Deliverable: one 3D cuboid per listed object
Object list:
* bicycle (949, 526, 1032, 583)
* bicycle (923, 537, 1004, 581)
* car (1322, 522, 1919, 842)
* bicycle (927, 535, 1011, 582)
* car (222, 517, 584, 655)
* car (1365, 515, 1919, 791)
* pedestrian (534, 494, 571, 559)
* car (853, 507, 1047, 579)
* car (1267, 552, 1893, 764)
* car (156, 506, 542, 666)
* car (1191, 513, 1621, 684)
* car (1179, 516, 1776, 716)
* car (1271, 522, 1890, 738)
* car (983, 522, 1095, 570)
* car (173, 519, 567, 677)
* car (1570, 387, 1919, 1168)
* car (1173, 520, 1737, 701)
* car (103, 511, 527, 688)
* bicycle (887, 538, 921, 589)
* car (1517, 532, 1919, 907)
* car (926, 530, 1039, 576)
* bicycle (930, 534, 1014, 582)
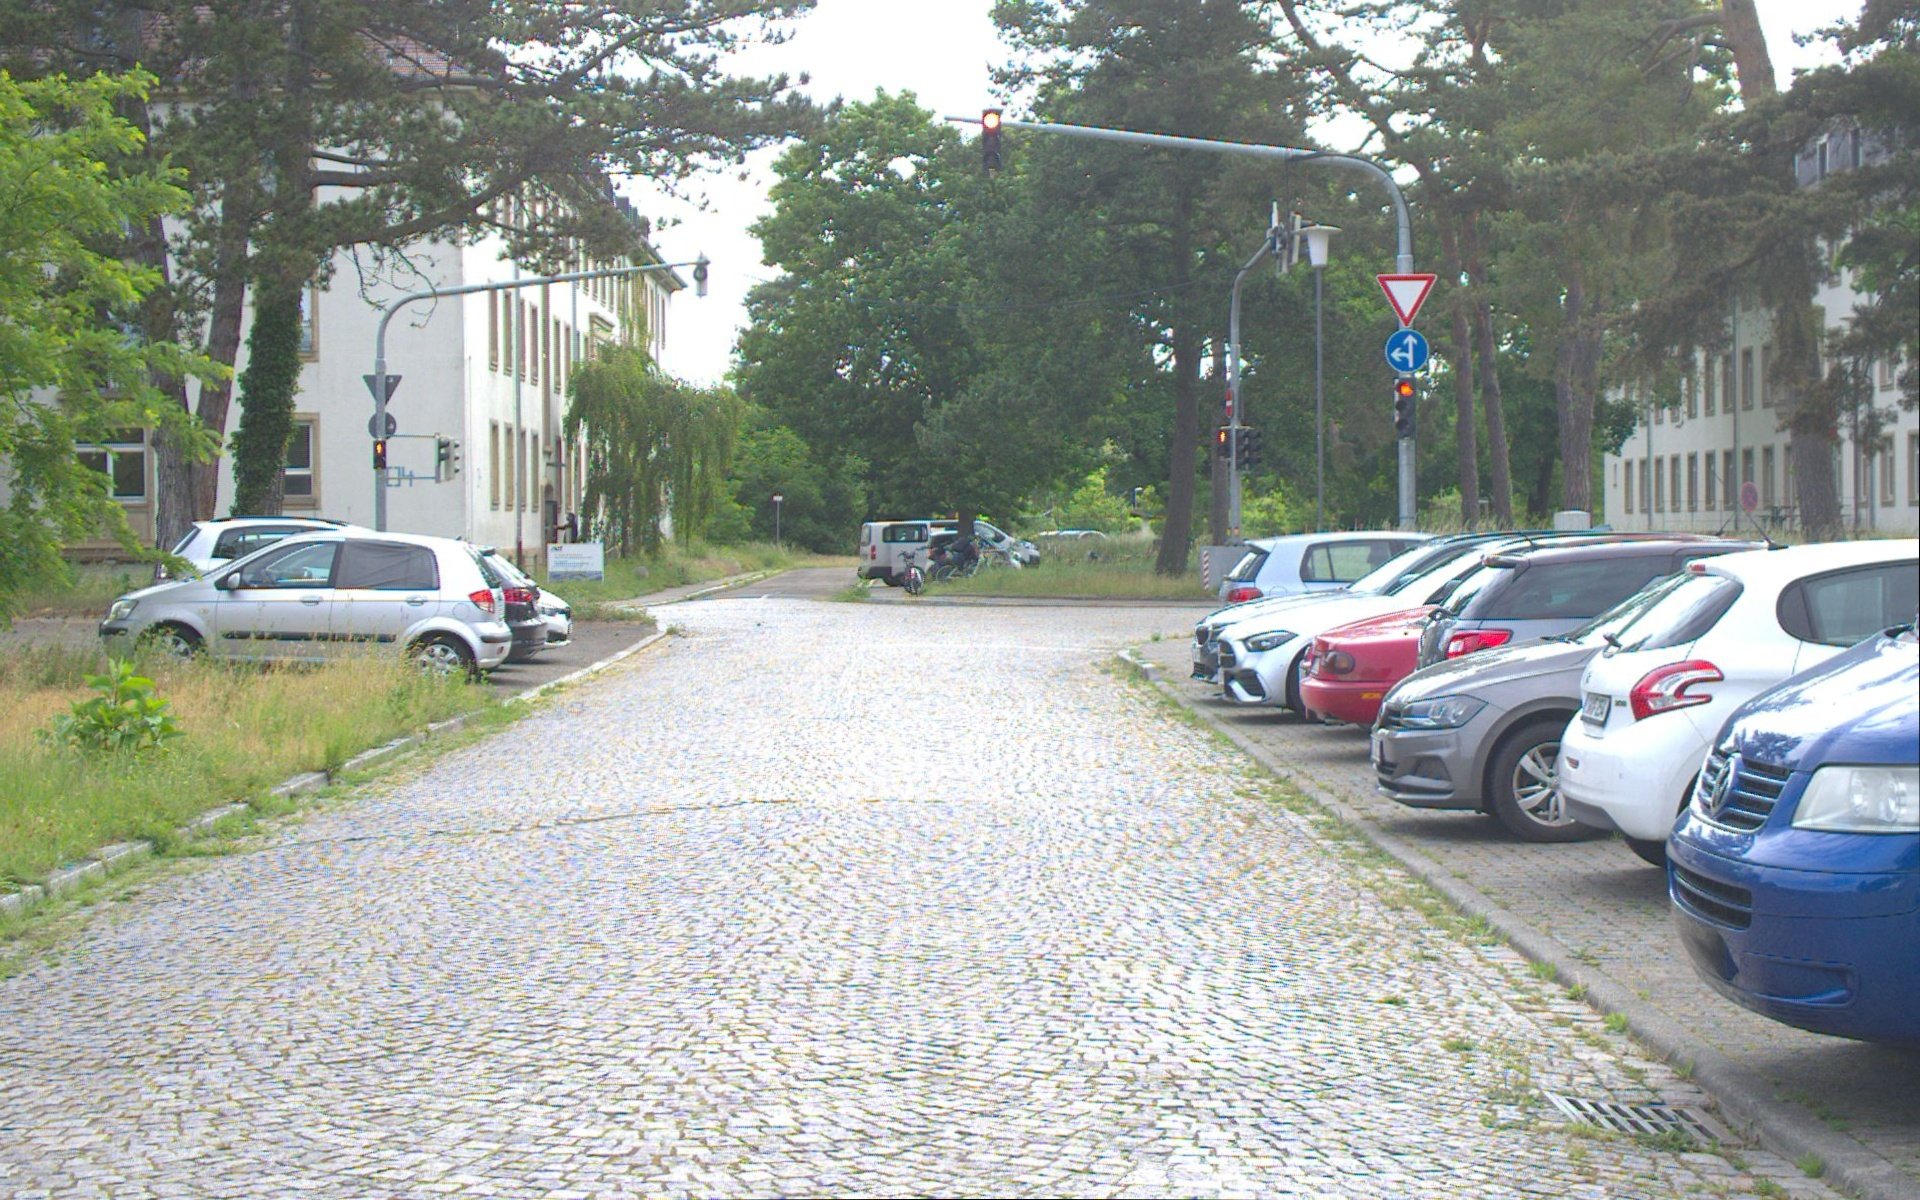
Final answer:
[{"bbox_3d":[0.745,-1.103,83.519,1.954,1.379,0.588,0,1,-7],"label":"bicycle"},{"bbox_3d":[0.089,-1.011,84.171,1.955,1.066,0.588,-1,1,-30],"label":"bicycle"},{"bbox_3d":[3.948,0.374,17.870,3.862,1.467,1.758,-2,1,-1],"label":"car"},{"bbox_3d":[0.214,-1.004,82.688,1.954,1.113,0.588,0,1,-7],"label":"bicycle"},{"bbox_3d":[-6.489,-0.176,40.303,3.947,1.416,1.650,2,1,-1],"label":"car"},{"bbox_3d":[4.517,0.276,20.714,3.862,1.467,1.758,-2,1,-1],"label":"car"},{"bbox_3d":[-11.588,-2.101,97.734,0.774,1.831,0.741,-1,1,-32],"label":"pedestrian"},{"bbox_3d":[-0.311,-1.666,100.130,5.359,1.918,2.025,-2,1,-9],"label":"car"},{"bbox_3d":[4.128,0.365,23.301,3.862,1.232,1.758,-2,1,-1],"label":"car"},{"bbox_3d":[-6.658,-0.162,37.760,3.947,1.558,1.650,2,1,-3],"label":"car"},{"bbox_3d":[4.259,-0.033,33.229,3.927,1.472,1.642,-2,1,1],"label":"car"},{"bbox_3d":[4.180,0.098,28.091,4.421,1.411,1.871,-2,1,-9],"label":"car"},{"bbox_3d":[4.579,0.198,25.826,4.261,1.411,1.871,-2,1,-1],"label":"car"},{"bbox_3d":[2.376,-1.642,104.021,3.231,1.411,1.725,-1,1,-3],"label":"car"},{"bbox_3d":[-5.953,-0.037,34.985,3.745,1.424,1.583,2,1,-3],"label":"car"},{"bbox_3d":[4.338,0.346,9.654,4.807,1.939,2.003,-2,1,-1],"label":"car"},{"bbox_3d":[4.365,0.067,30.779,4.680,1.411,1.871,-2,1,-3],"label":"car"},{"bbox_3d":[-6.018,-0.019,32.386,3.702,1.474,1.583,2,1,-3],"label":"car"},{"bbox_3d":[-1.284,-0.842,78.855,0.603,1.128,1.962,0,1,-6],"label":"bicycle"},{"bbox_3d":[4.541,0.438,15.009,3.862,1.467,1.758,-2,1,-1],"label":"car"},{"bbox_3d":[0.619,-1.322,96.775,3.005,1.264,1.535,-1,1,-6],"label":"car"},{"bbox_3d":[0.285,-1.014,82.055,1.954,1.128,0.588,0,1,-7],"label":"bicycle"}]
